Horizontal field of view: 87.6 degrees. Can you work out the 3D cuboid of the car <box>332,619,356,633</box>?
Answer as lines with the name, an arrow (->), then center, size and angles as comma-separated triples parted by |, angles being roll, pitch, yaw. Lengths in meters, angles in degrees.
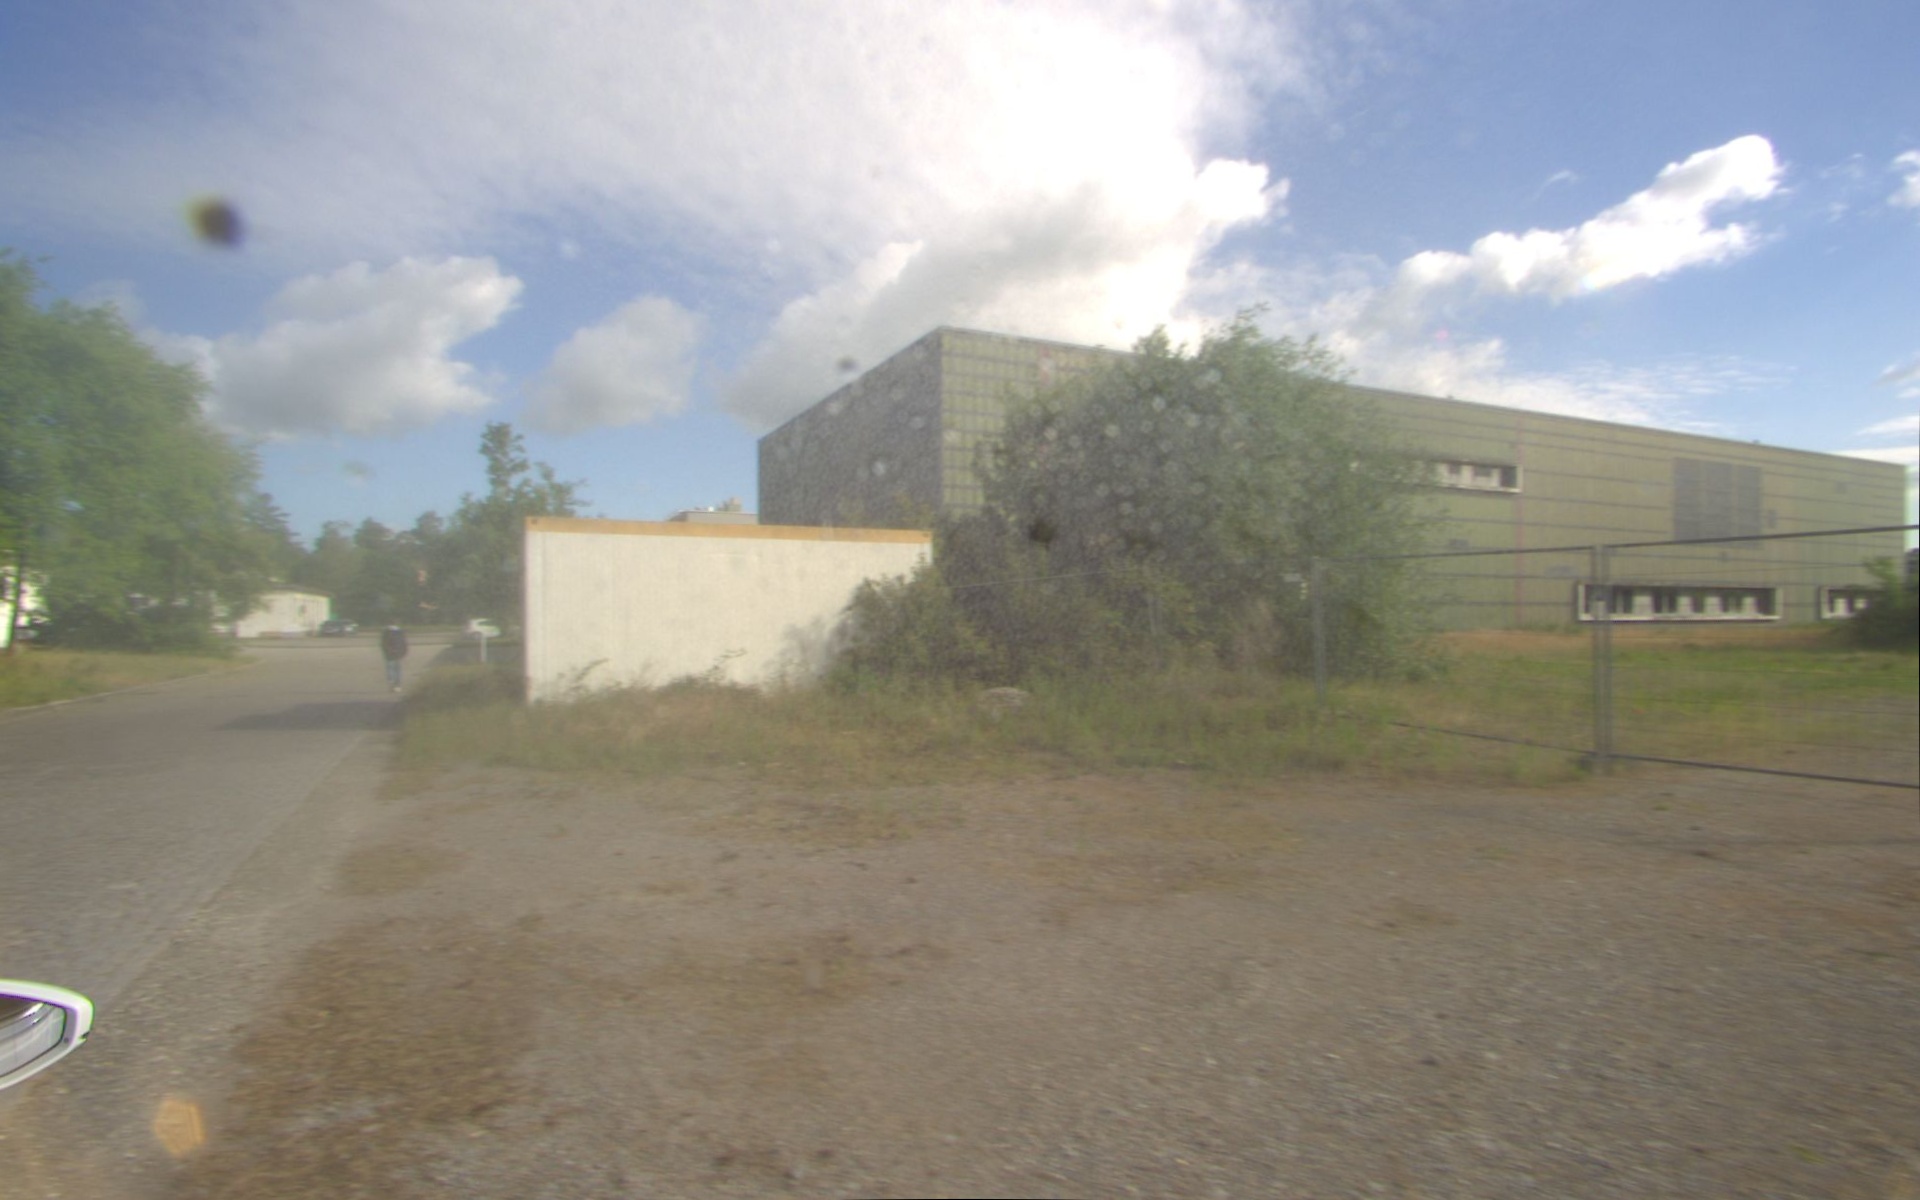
car -> -60.669, 2.538, 98.594 | 1.973, 1.394, 3.976 | 0, -1, -33

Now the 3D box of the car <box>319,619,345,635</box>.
car -> -56.099, 2.432, 89.433 | 1.973, 1.389, 3.976 | 0, -1, -33

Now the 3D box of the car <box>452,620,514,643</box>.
car -> -34.893, 2.268, 73.375 | 3.933, 1.664, 1.995 | 0, -1, -21

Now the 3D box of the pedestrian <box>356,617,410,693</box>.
pedestrian -> -12.426, 1.159, 21.599 | 0.853, 1.579, 1.025 | 0, 0, -21

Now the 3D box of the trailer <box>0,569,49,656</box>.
trailer -> -40.038, 0.491, 39.729 | 2.880, 3.516, 9.866 | 0, -1, -24
